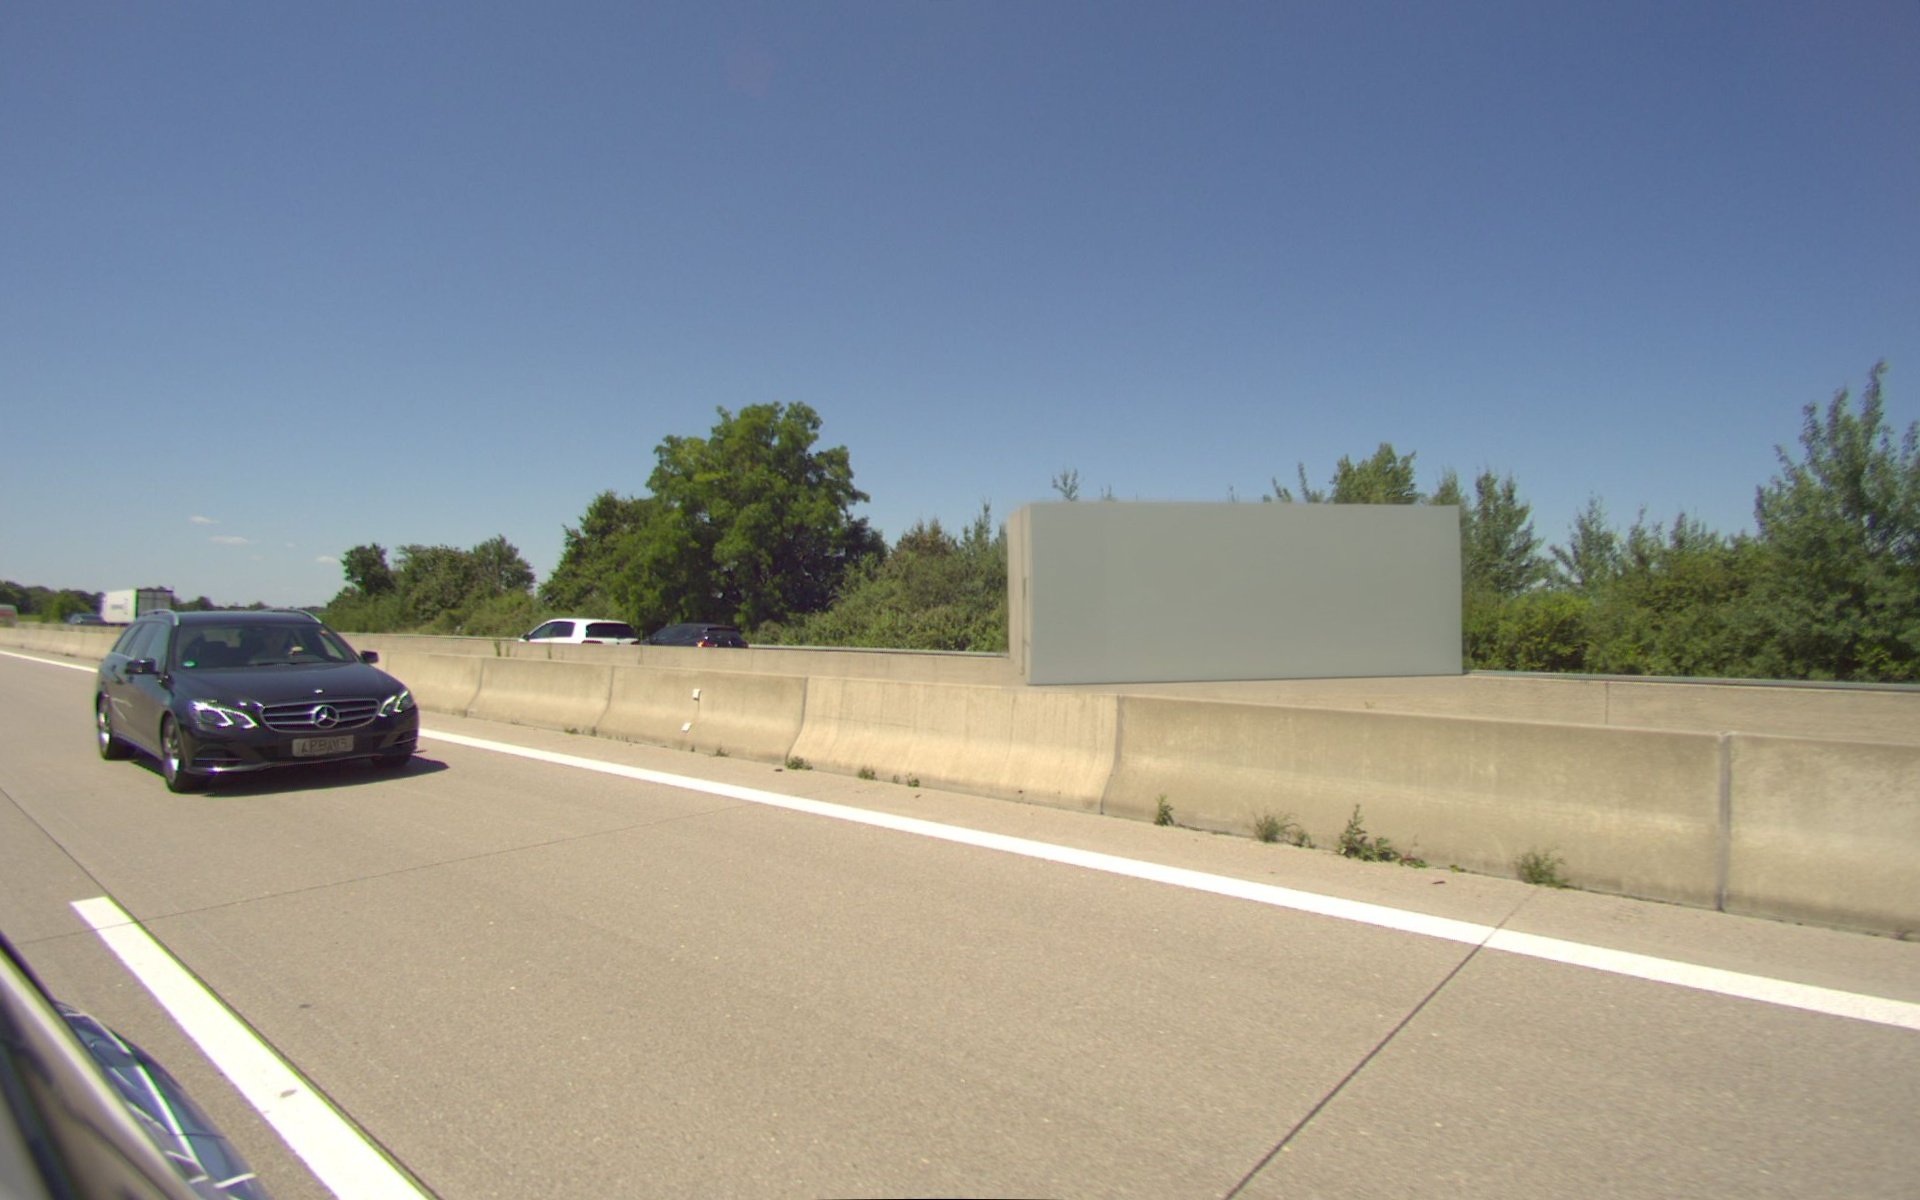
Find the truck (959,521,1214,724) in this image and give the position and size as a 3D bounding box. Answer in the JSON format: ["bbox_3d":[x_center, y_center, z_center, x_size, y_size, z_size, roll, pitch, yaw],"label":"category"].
[{"bbox_3d":[2.866,0.488,23.500,5.083,4.159,2.922,-1,-1,42],"label":"truck"}]

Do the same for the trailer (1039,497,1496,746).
[{"bbox_3d":[5.911,0.424,20.756,8.480,4.136,2.922,-1,-1,42],"label":"trailer"}]

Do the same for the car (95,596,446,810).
[{"bbox_3d":[-6.652,0.808,9.610,3.938,1.597,1.824,-1,-1,41],"label":"car"}]

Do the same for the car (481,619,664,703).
[{"bbox_3d":[-9.430,1.384,24.394,5.155,1.771,1.972,-1,-1,42],"label":"car"}]

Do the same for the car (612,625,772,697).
[{"bbox_3d":[-7.421,1.603,27.797,4.713,1.771,1.972,-1,-1,42],"label":"car"}]

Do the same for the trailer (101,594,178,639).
[{"bbox_3d":[-75.548,1.525,93.009,14.022,3.867,3.128,-1,-1,41],"label":"trailer"}]

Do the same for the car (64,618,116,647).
[{"bbox_3d":[-56.783,2.106,66.019,4.394,1.807,1.909,-1,-1,41],"label":"car"}]

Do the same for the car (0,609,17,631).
[{"bbox_3d":[-91.714,1.962,96.489,5.977,2.029,2.047,-1,-1,41],"label":"car"}]
